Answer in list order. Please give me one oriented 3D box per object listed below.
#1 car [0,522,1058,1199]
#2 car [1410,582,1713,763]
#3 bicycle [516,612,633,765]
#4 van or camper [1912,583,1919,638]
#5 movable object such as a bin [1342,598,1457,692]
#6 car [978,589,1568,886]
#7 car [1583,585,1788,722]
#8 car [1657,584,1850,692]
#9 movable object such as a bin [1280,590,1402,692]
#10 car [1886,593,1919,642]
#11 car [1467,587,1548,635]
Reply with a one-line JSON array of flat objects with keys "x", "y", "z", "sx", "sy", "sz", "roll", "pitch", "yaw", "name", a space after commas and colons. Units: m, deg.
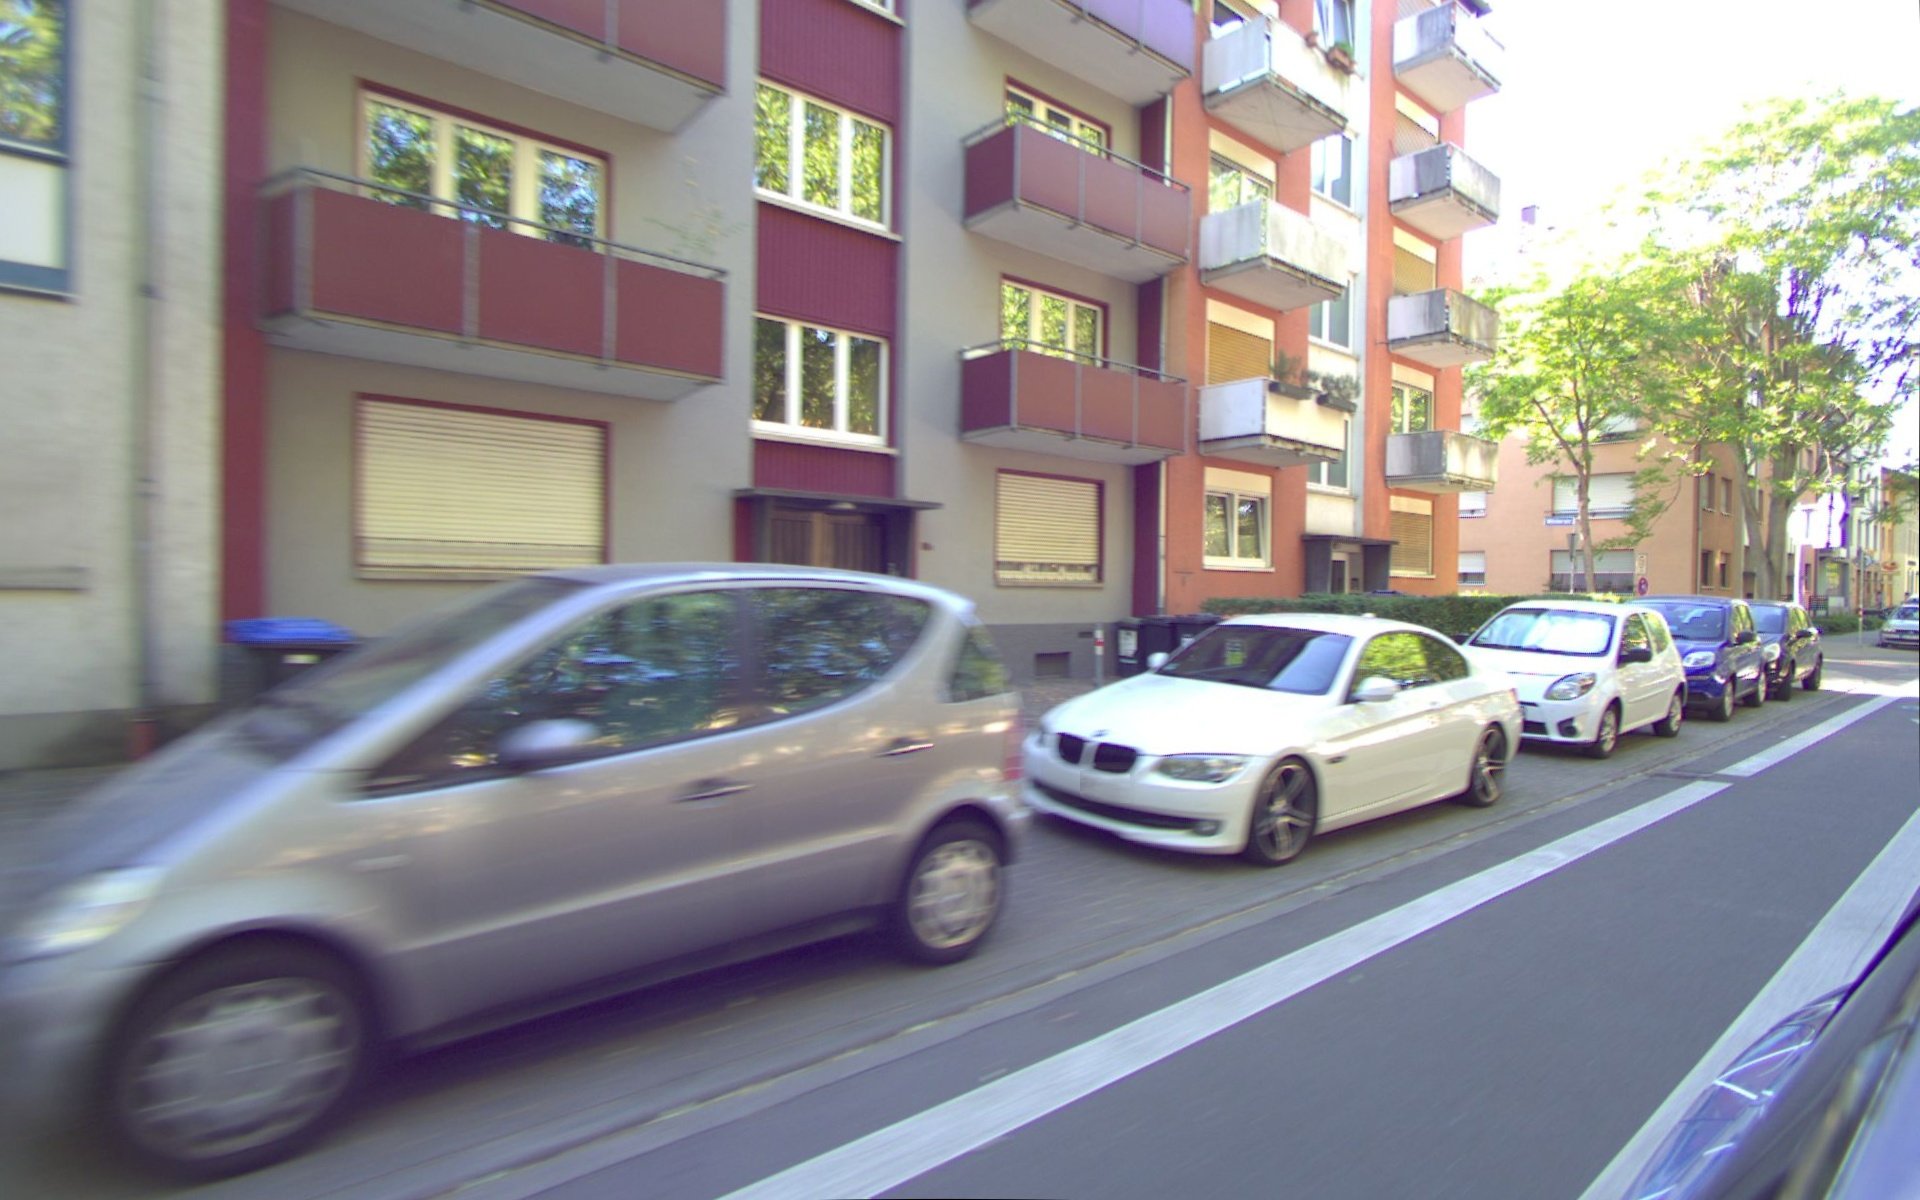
[{"x": -1.463, "y": 0.593, "z": 3.887, "sx": 3.525, "sy": 1.600, "sz": 1.663, "roll": 0, "pitch": 2, "yaw": -40, "name": "car"}, {"x": 6.497, "y": 0.613, "z": 10.783, "sx": 3.767, "sy": 1.545, "sz": 1.595, "roll": -1, "pitch": 3, "yaw": -40, "name": "car"}, {"x": -3.295, "y": 0.681, "z": 8.558, "sx": 0.467, "sy": 1.042, "sz": 1.901, "roll": 0, "pitch": 3, "yaw": -35, "name": "bicycle"}, {"x": 35.281, "y": 0.393, "z": 35.925, "sx": 4.747, "sy": 1.887, "sz": 1.758, "roll": 0, "pitch": 1, "yaw": -42, "name": "van or camper"}, {"x": 6.719, "y": 0.647, "z": 15.454, "sx": 1.691, "sy": 1.344, "sz": 0.969, "roll": -1, "pitch": 0, "yaw": -40, "name": "movable object such as a bin"}, {"x": 2.454, "y": 0.683, "z": 7.176, "sx": 4.654, "sy": 1.416, "sz": 1.664, "roll": 0, "pitch": 3, "yaw": -39, "name": "car"}, {"x": 9.911, "y": 0.614, "z": 13.725, "sx": 3.688, "sy": 1.610, "sz": 1.528, "roll": -1, "pitch": 0, "yaw": -42, "name": "car"}, {"x": 12.940, "y": 0.537, "z": 16.430, "sx": 3.848, "sy": 1.480, "sz": 1.737, "roll": 0, "pitch": 3, "yaw": -41, "name": "car"}, {"x": 5.402, "y": 0.535, "z": 14.327, "sx": 1.652, "sy": 1.344, "sz": 0.925, "roll": -1, "pitch": 0, "yaw": -40, "name": "movable object such as a bin"}, {"x": 31.123, "y": 0.545, "z": 32.401, "sx": 3.930, "sy": 1.491, "sz": 1.709, "roll": 0, "pitch": 1, "yaw": -41, "name": "car"}, {"x": 19.209, "y": 0.346, "z": 35.672, "sx": 1.703, "sy": 1.560, "sz": 3.979, "roll": 1, "pitch": 1, "yaw": 17, "name": "car"}]
